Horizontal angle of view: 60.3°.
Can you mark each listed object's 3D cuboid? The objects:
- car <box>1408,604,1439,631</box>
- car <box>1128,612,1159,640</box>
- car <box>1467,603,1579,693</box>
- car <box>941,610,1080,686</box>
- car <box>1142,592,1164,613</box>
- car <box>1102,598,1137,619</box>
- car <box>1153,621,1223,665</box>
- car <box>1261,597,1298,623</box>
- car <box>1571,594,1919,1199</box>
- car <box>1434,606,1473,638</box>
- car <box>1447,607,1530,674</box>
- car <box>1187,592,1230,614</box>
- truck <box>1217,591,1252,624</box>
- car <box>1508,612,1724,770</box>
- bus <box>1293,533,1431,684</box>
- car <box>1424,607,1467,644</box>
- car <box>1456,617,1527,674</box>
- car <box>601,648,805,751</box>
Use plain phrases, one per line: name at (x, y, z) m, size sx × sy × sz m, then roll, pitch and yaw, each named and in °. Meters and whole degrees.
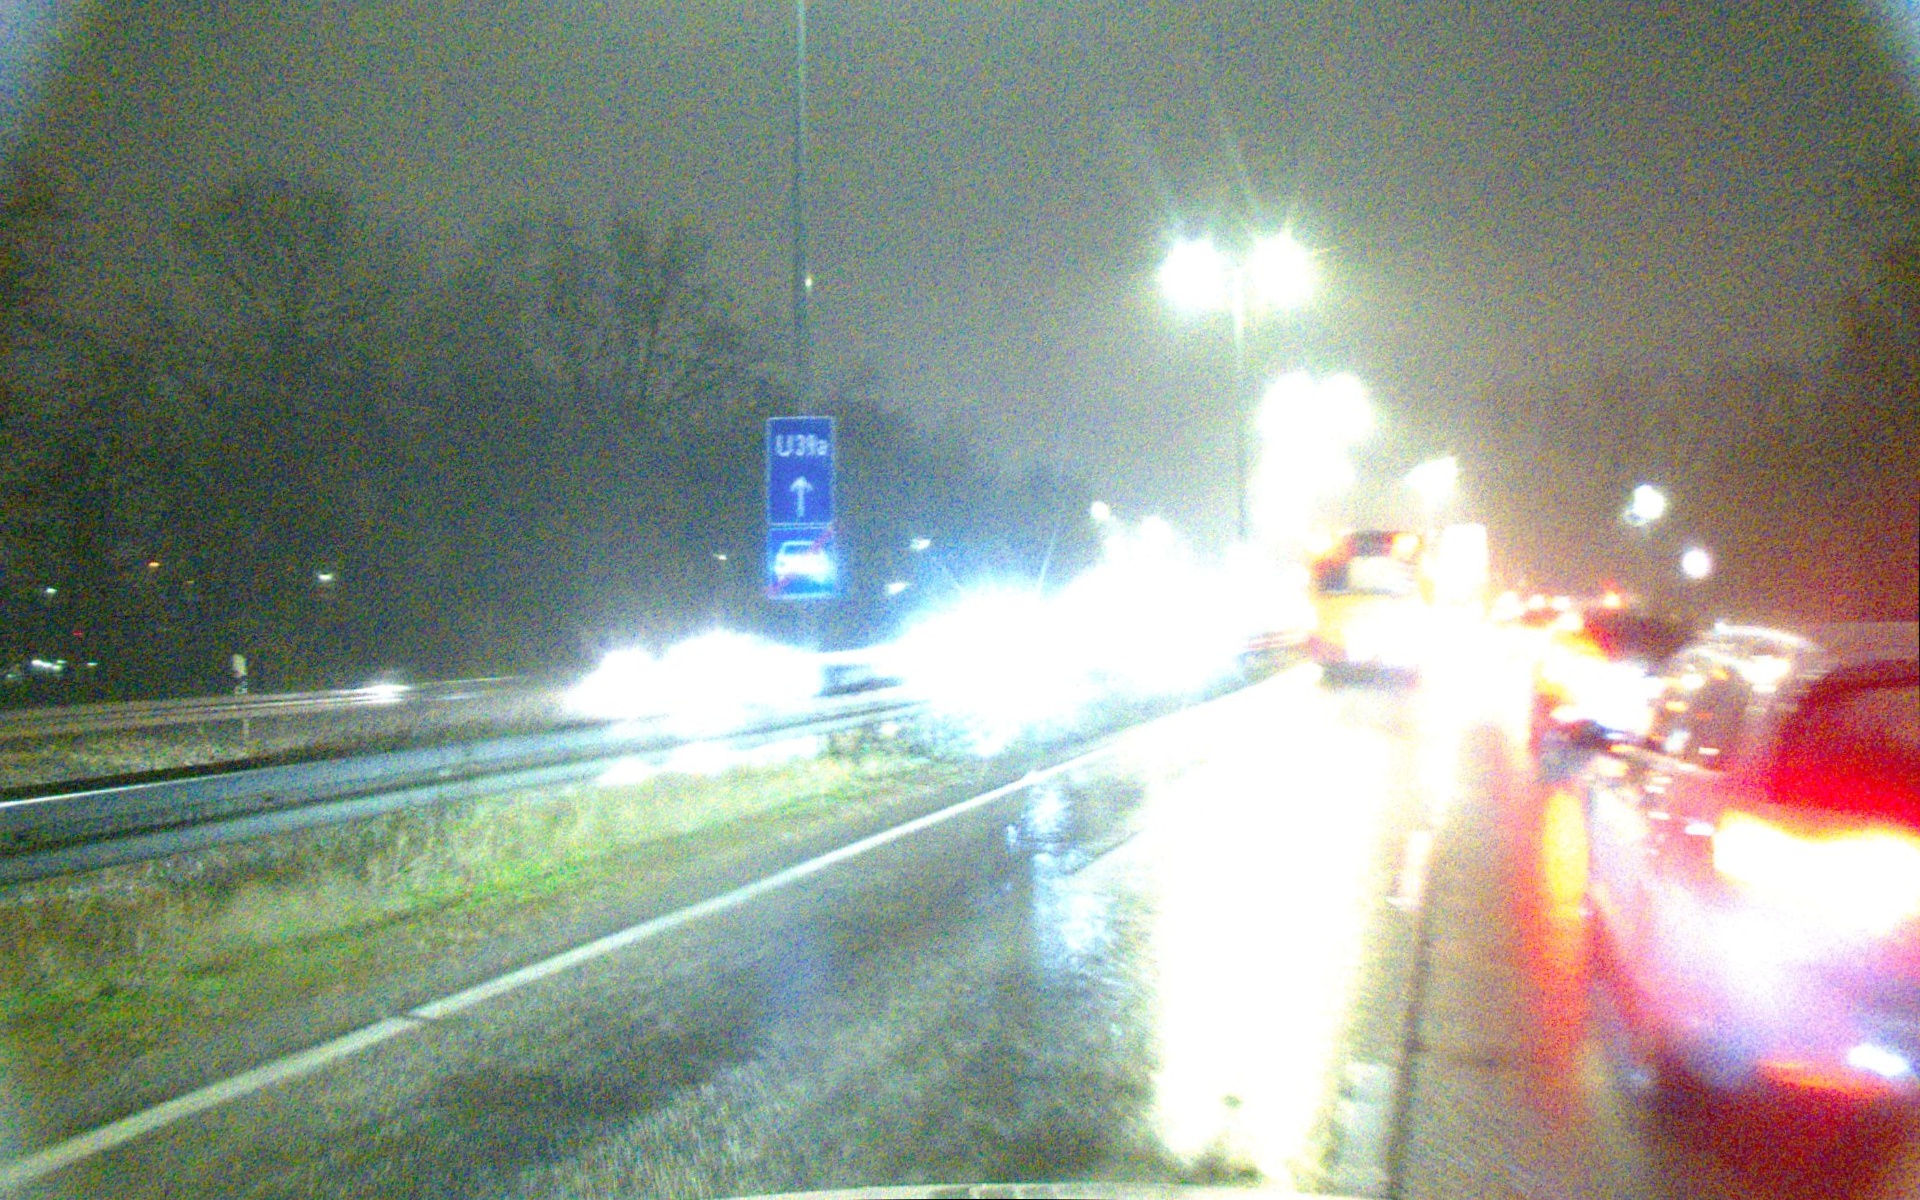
car at (28.869, 1.105, 103.026) m, size 1.781 × 1.618 × 3.779 m, roll -2°, pitch -1°, yaw 15°
car at (13.649, 1.910, 122.617) m, size 1.951 × 2.049 × 4.003 m, roll 0°, pitch -1°, yaw 11°
car at (10.630, 0.862, 31.421) m, size 1.702 × 1.592 × 3.779 m, roll 0°, pitch 0°, yaw 14°
car at (1.098, 0.920, 33.301) m, size 1.576 × 1.406 × 4.748 m, roll -1°, pitch 0°, yaw 17°
car at (19.687, 0.229, 168.747) m, size 2.076 × 2.049 × 4.002 m, roll 1°, pitch -1°, yaw 4°
car at (15.804, 0.861, 164.059) m, size 1.964 × 2.049 × 3.977 m, roll 1°, pitch -1°, yaw -20°
car at (8.498, 1.558, 61.297) m, size 1.816 × 1.502 × 4.781 m, roll -1°, pitch -1°, yaw 17°
car at (25.430, 0.806, 131.780) m, size 1.954 × 2.049 × 3.997 m, roll 1°, pitch -1°, yaw -4°
car at (3.256, 0.748, 5.875) m, size 1.783 × 1.510 × 4.570 m, roll -1°, pitch -1°, yaw 17°
car at (25.961, 1.125, 87.058) m, size 1.781 × 1.618 × 3.779 m, roll -2°, pitch -1°, yaw 15°
car at (13.696, 1.023, 43.046) m, size 1.781 × 1.618 × 3.779 m, roll -2°, pitch -1°, yaw 14°
car at (21.954, 0.248, 146.074) m, size 1.966 × 1.715 × 3.973 m, roll 1°, pitch 1°, yaw -22°
truck at (22.284, 0.592, 134.215) m, size 1.819 × 2.434 × 4.778 m, roll -2°, pitch 2°, yaw -2°
car at (6.981, 0.869, 18.015) m, size 1.695 × 1.474 × 4.728 m, roll 0°, pitch 0°, yaw 16°
bus at (9.446, 0.201, 38.390) m, size 2.755 × 3.077 × 8.693 m, roll 0°, pitch 0°, yaw 15°
car at (21.288, 1.101, 72.572) m, size 1.742 × 1.570 × 3.877 m, roll 0°, pitch 0°, yaw 15°
car at (16.302, 1.375, 50.882) m, size 1.781 × 1.618 × 3.779 m, roll -2°, pitch -1°, yaw 14°
car at (-4.129, 1.586, 27.224) m, size 1.577 × 1.406 × 4.166 m, roll -3°, pitch -1°, yaw 18°
